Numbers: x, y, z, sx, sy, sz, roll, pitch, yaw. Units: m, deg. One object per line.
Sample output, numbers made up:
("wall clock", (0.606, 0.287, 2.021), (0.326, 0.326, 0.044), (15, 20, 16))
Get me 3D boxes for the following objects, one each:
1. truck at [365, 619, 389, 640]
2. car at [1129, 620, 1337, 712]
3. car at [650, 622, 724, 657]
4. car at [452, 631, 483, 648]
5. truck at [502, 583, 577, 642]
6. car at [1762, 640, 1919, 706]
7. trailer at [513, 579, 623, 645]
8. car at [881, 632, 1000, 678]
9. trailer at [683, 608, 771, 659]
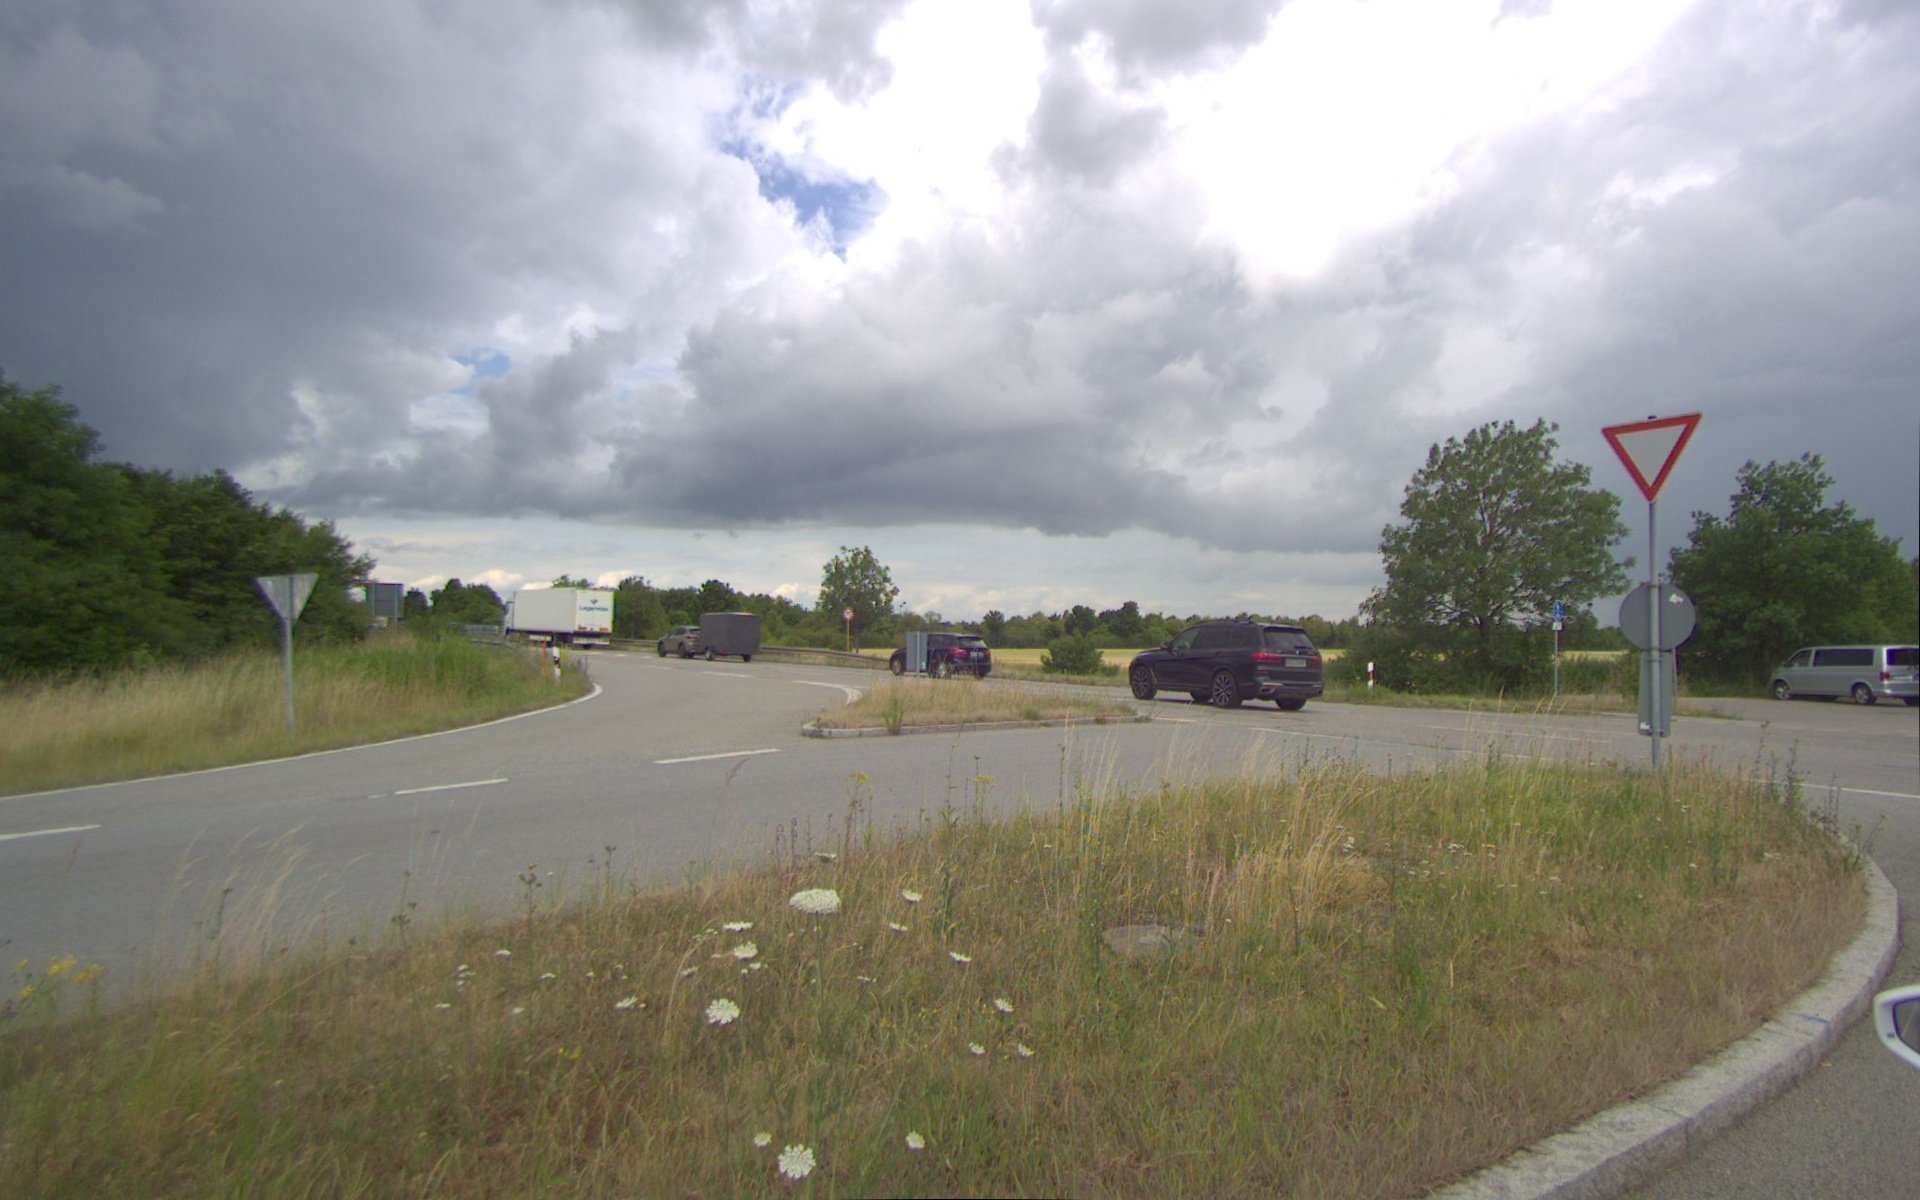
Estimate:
("truck", (-76.029, 3.873, 130.953), (2.047, 2.738, 5.982), (2, -3, -36))
("car", (5.826, 1.376, 22.069), (1.972, 1.798, 4.618), (2, -2, -23))
("car", (-14.311, 2.056, 52.460), (1.985, 1.704, 4.425), (4, -4, -41))
("car", (-47.995, 3.830, 97.869), (1.981, 1.622, 4.181), (1, -3, -37))
("truck", (-31.349, 0.974, 74.711), (3.103, 4.066, 7.225), (4, -3, -39))
("car", (30.767, 2.436, 34.649), (2.296, 2.040, 4.916), (-1, -2, 0))
("trailer", (-27.573, 0.924, 70.046), (3.103, 4.066, 13.732), (4, -3, -39))
("car", (-0.750, 1.898, 35.069), (1.984, 1.506, 4.253), (3, -3, -39))
("trailer", (-11.433, 1.647, 49.132), (2.398, 2.322, 4.345), (4, -4, -40))
